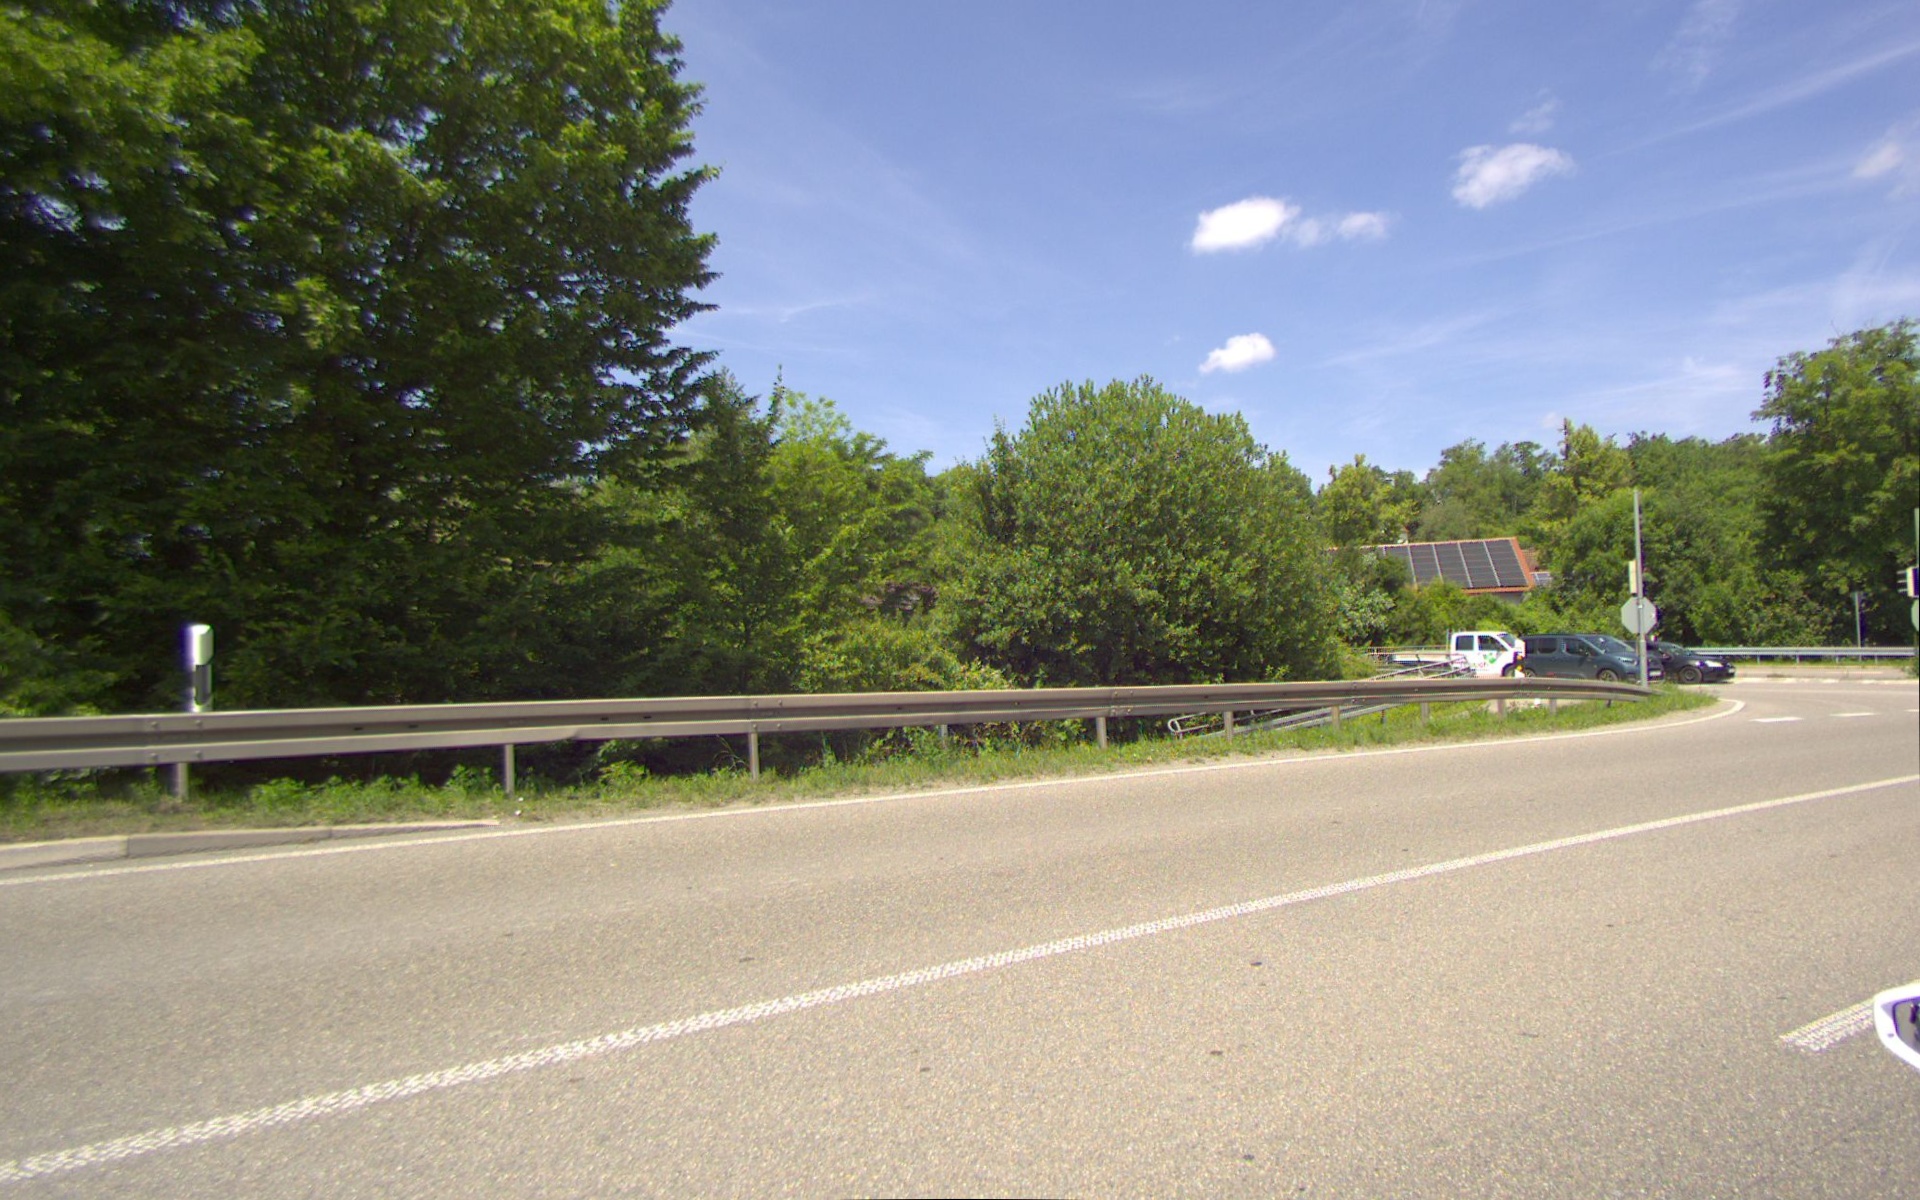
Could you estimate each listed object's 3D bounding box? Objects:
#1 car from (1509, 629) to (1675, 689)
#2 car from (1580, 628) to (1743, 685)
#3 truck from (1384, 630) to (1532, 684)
[{"bbox_3d":[20.177,1.847,32.303,1.970,1.793,4.229,2,-2,-20],"label":"car"},{"bbox_3d":[23.774,1.878,34.238,1.970,1.793,4.229,2,-2,-20],"label":"car"},{"bbox_3d":[19.589,2.232,39.669,2.028,1.815,4.832,4,-2,-41],"label":"truck"}]
